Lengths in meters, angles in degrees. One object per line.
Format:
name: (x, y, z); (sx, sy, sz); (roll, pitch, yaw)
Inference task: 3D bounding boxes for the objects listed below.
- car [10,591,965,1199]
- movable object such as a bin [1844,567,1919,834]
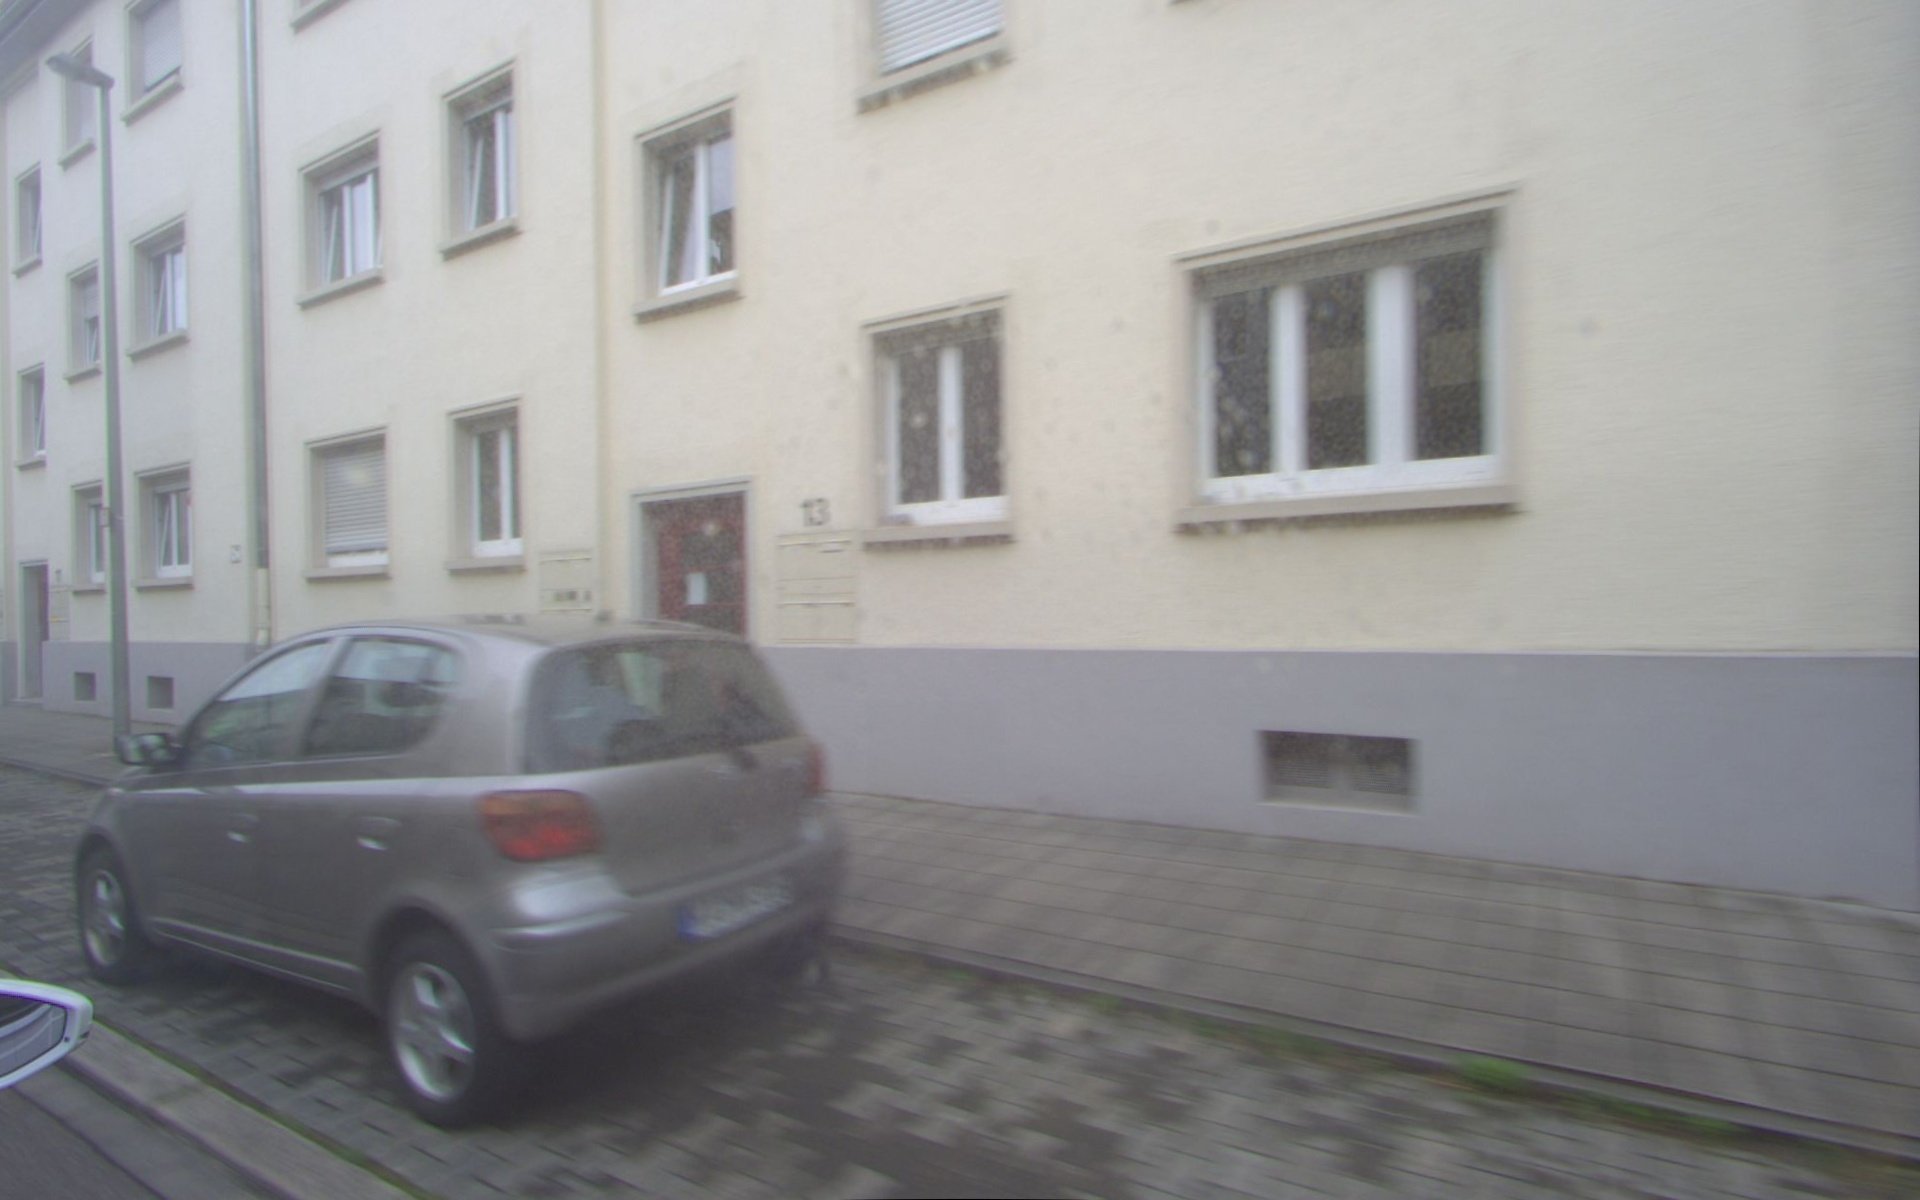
car: (-2.131, 0.780, 4.220); (4.001, 1.537, 1.722); (-1, 0, 31)
movable object such as a bin: (5.940, 0.549, 5.730); (1.133, 1.463, 1.159); (0, 0, 32)
